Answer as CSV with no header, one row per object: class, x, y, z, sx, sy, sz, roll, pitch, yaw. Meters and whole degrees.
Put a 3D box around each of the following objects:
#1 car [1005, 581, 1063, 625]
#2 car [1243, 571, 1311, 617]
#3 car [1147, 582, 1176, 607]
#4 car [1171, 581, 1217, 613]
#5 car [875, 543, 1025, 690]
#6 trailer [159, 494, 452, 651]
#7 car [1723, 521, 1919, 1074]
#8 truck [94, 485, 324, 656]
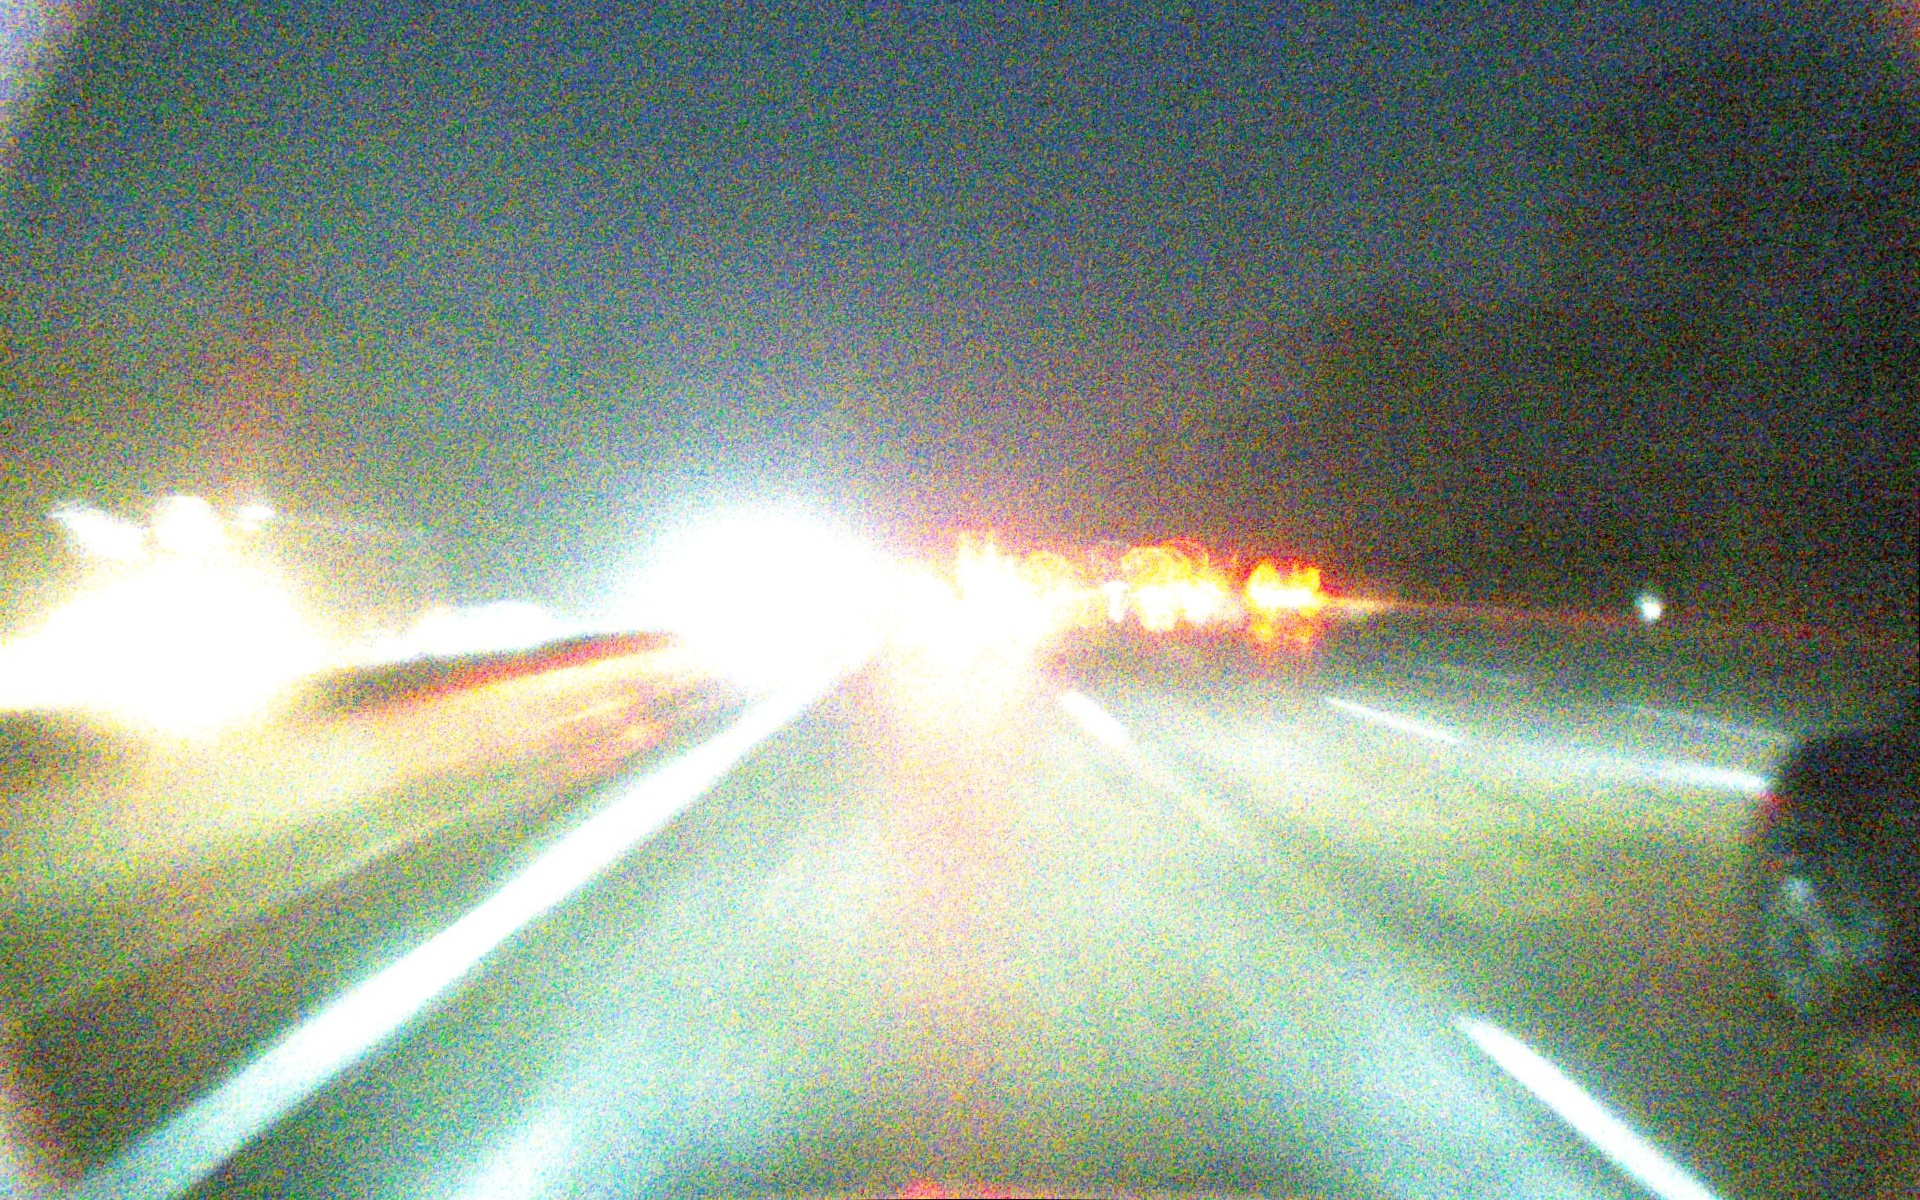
car,2.847,0.112,64.489,2.093,1.646,4.000,1,0,0
car,12.075,-0.229,63.300,1.818,1.646,4.000,1,0,0
car,13.366,-0.382,109.897,1.677,1.585,4.002,1,0,3
car,12.278,-0.154,87.080,1.818,1.646,4.000,1,0,0
car,-0.292,0.260,32.851,2.655,2.578,5.828,-2,1,-2
trailer,-17.360,-0.660,45.478,2.587,3.633,14.153,0,0,-1
car,3.750,0.597,4.062,1.846,1.616,3.999,1,0,-1
truck,-17.249,-0.643,38.482,2.587,3.642,6.174,0,0,-1
